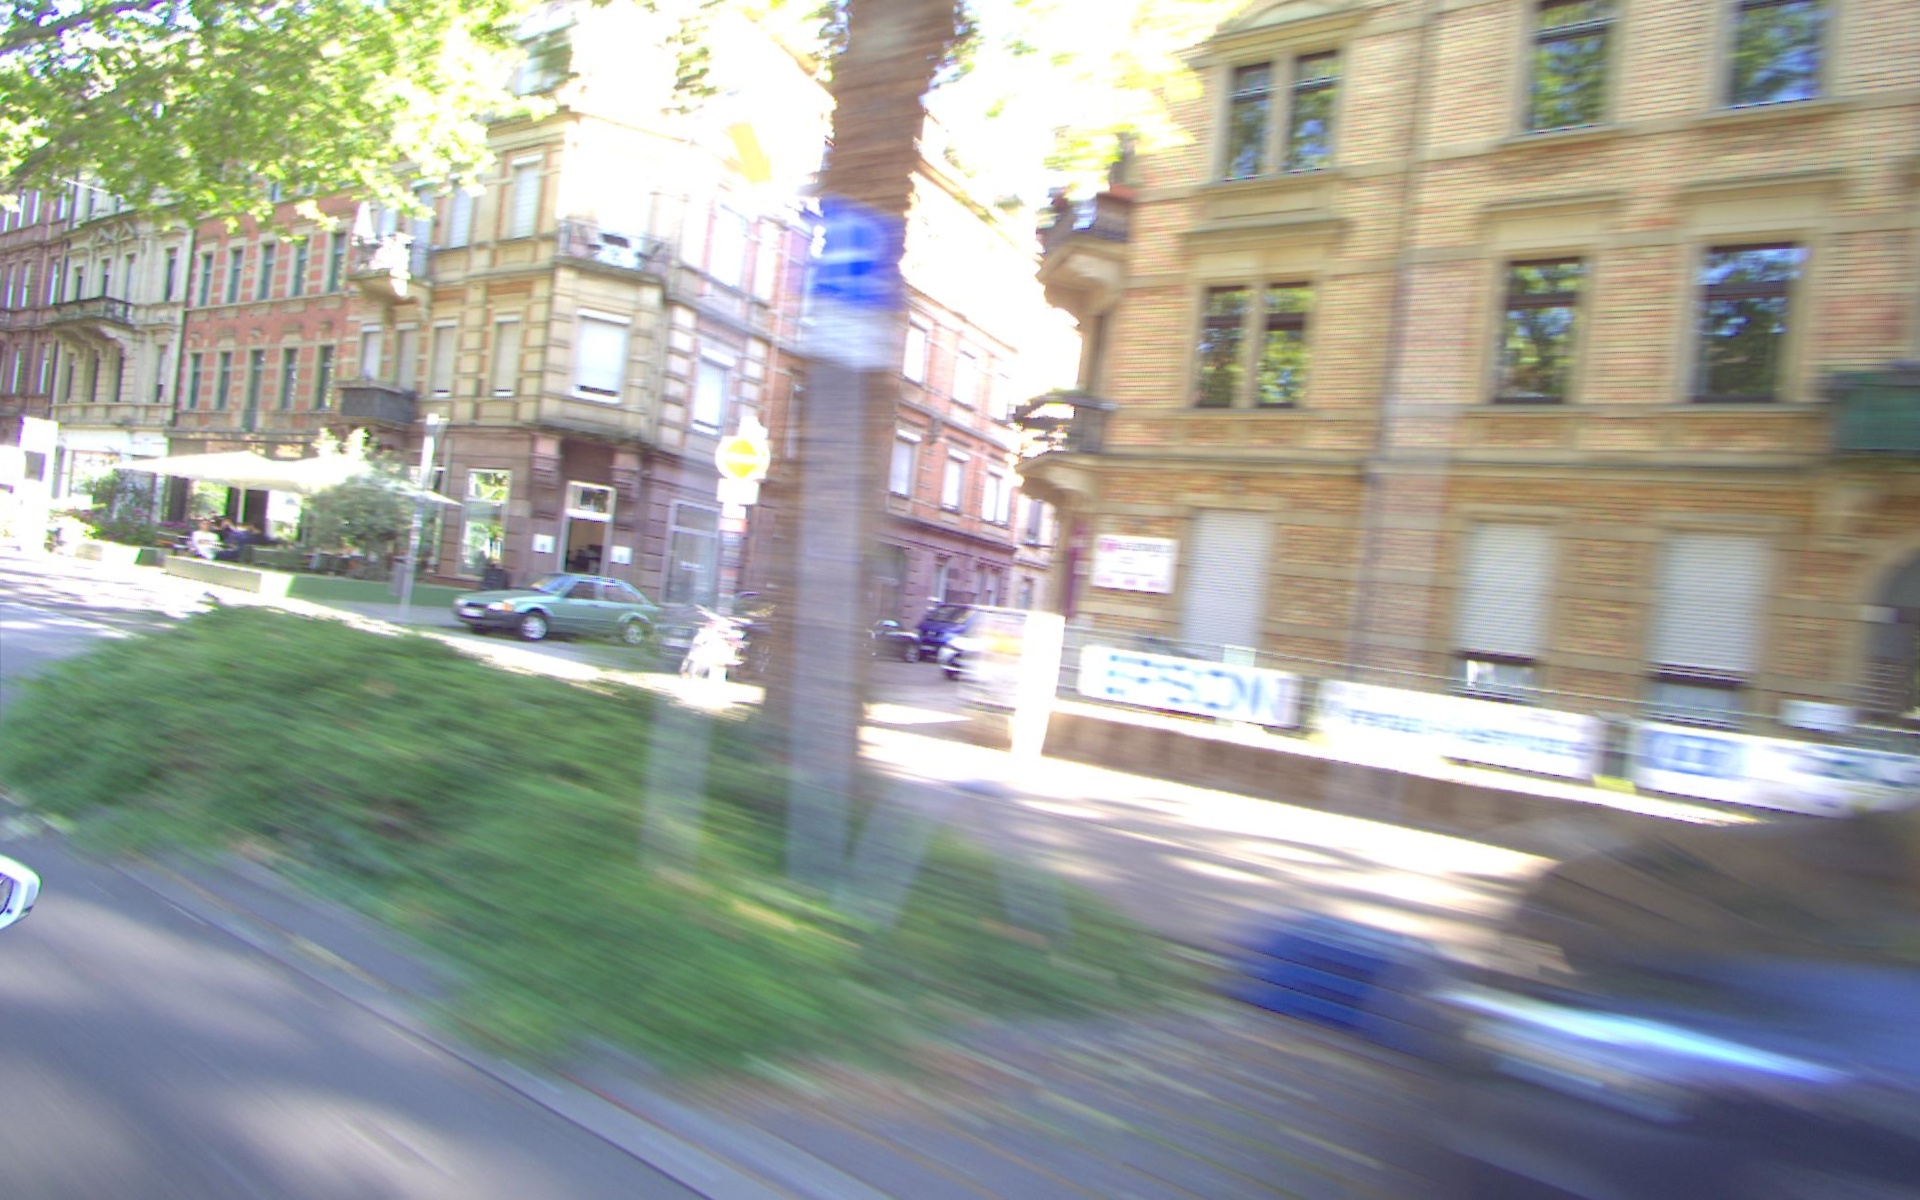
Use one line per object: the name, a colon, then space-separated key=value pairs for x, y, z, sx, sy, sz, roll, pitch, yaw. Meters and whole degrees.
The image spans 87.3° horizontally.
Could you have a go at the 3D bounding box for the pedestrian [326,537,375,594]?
pedestrian: x=-15.258 y=-0.860 z=25.182 sx=0.651 sy=1.315 sz=0.714 roll=7 pitch=0 yaw=31

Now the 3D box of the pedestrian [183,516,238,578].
pedestrian: x=-17.446 y=-1.236 z=23.419 sx=0.651 sy=1.315 sz=0.714 roll=7 pitch=0 yaw=31

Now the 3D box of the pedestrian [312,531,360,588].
pedestrian: x=-15.922 y=-1.029 z=25.680 sx=0.703 sy=1.315 sz=0.661 roll=7 pitch=0 yaw=31

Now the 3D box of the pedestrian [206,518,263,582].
pedestrian: x=-16.386 y=-1.126 z=22.728 sx=0.651 sy=1.315 sz=0.714 roll=7 pitch=0 yaw=31

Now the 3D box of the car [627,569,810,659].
car: x=-5.655 y=0.378 z=23.977 sx=1.863 sy=1.667 sz=3.900 roll=7 pitch=-1 yaw=33

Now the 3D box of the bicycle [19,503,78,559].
bicycle: x=-21.536 y=-1.634 z=23.752 sx=1.864 sy=1.158 sz=0.475 roll=7 pitch=2 yaw=32

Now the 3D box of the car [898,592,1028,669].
car: x=0.183 y=1.058 z=33.124 sx=1.967 sy=2.038 sz=4.612 roll=7 pitch=-1 yaw=32

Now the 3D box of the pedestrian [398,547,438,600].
pedestrian: x=-12.972 y=-0.632 z=24.075 sx=0.517 sy=1.152 sz=0.557 roll=7 pitch=0 yaw=31

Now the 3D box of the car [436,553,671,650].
car: x=-7.820 y=0.091 z=19.750 sx=1.713 sy=1.381 sz=3.996 roll=9 pitch=0 yaw=28

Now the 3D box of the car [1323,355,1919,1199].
car: x=3.427 y=0.920 z=1.455 sx=5.114 sy=2.038 sz=1.997 roll=7 pitch=0 yaw=30

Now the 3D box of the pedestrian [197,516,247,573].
pedestrian: x=-18.730 y=-1.401 z=25.533 sx=0.652 sy=1.315 sz=0.713 roll=7 pitch=0 yaw=33

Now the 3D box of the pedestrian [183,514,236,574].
pedestrian: x=-18.124 y=-1.339 z=24.302 sx=0.652 sy=1.315 sz=0.714 roll=7 pitch=0 yaw=31

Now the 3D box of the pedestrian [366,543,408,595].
pedestrian: x=-13.413 y=-0.715 z=23.556 sx=0.517 sy=1.115 sz=0.557 roll=7 pitch=0 yaw=31

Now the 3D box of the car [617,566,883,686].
car: x=-3.376 y=0.545 z=17.219 sx=1.889 sy=1.566 sz=4.615 roll=7 pitch=-2 yaw=26

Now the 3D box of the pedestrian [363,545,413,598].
pedestrian: x=-14.007 y=-0.695 z=24.635 sx=0.651 sy=1.186 sz=0.714 roll=7 pitch=-1 yaw=31

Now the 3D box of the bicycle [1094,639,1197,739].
bicycle: x=2.451 y=1.167 z=13.112 sx=0.469 sy=1.167 sz=1.864 roll=7 pitch=-1 yaw=35

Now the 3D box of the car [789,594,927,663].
car: x=-2.785 y=0.841 z=28.185 sx=1.894 sy=1.504 sz=3.652 roll=7 pitch=-1 yaw=32

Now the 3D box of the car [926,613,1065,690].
car: x=0.981 y=1.326 z=24.876 sx=1.713 sy=1.566 sz=4.129 roll=7 pitch=-1 yaw=27

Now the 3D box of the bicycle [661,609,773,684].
bicycle: x=-3.352 y=0.668 z=14.059 sx=0.591 sy=0.927 sz=1.697 roll=7 pitch=-1 yaw=20
